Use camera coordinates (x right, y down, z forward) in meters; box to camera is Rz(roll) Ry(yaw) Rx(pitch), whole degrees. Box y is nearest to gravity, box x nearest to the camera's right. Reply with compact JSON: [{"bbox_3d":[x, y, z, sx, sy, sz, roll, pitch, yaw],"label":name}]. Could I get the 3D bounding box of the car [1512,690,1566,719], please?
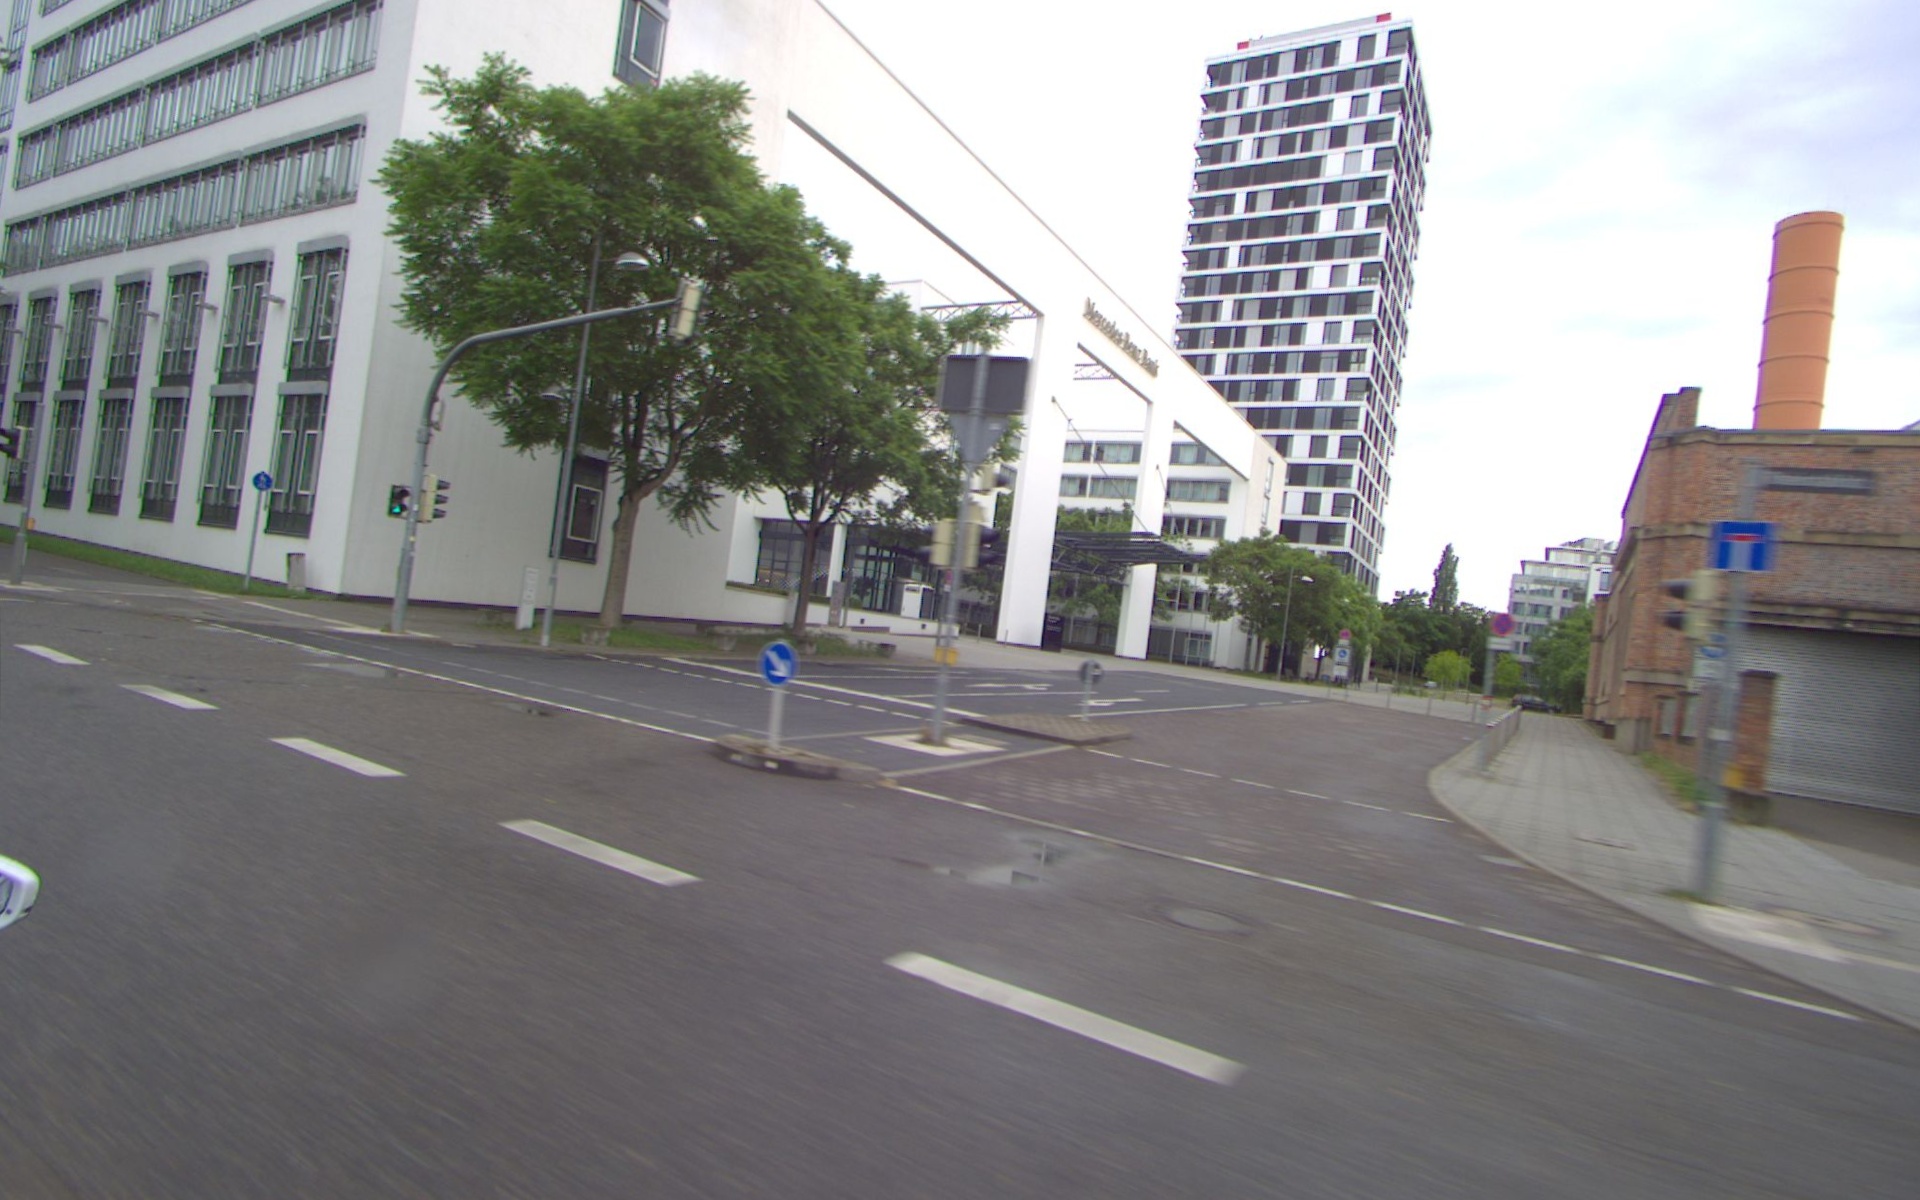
[{"bbox_3d":[51.742,9.356,89.904,3.936,2.036,1.997,5,-3,34],"label":"car"}]
